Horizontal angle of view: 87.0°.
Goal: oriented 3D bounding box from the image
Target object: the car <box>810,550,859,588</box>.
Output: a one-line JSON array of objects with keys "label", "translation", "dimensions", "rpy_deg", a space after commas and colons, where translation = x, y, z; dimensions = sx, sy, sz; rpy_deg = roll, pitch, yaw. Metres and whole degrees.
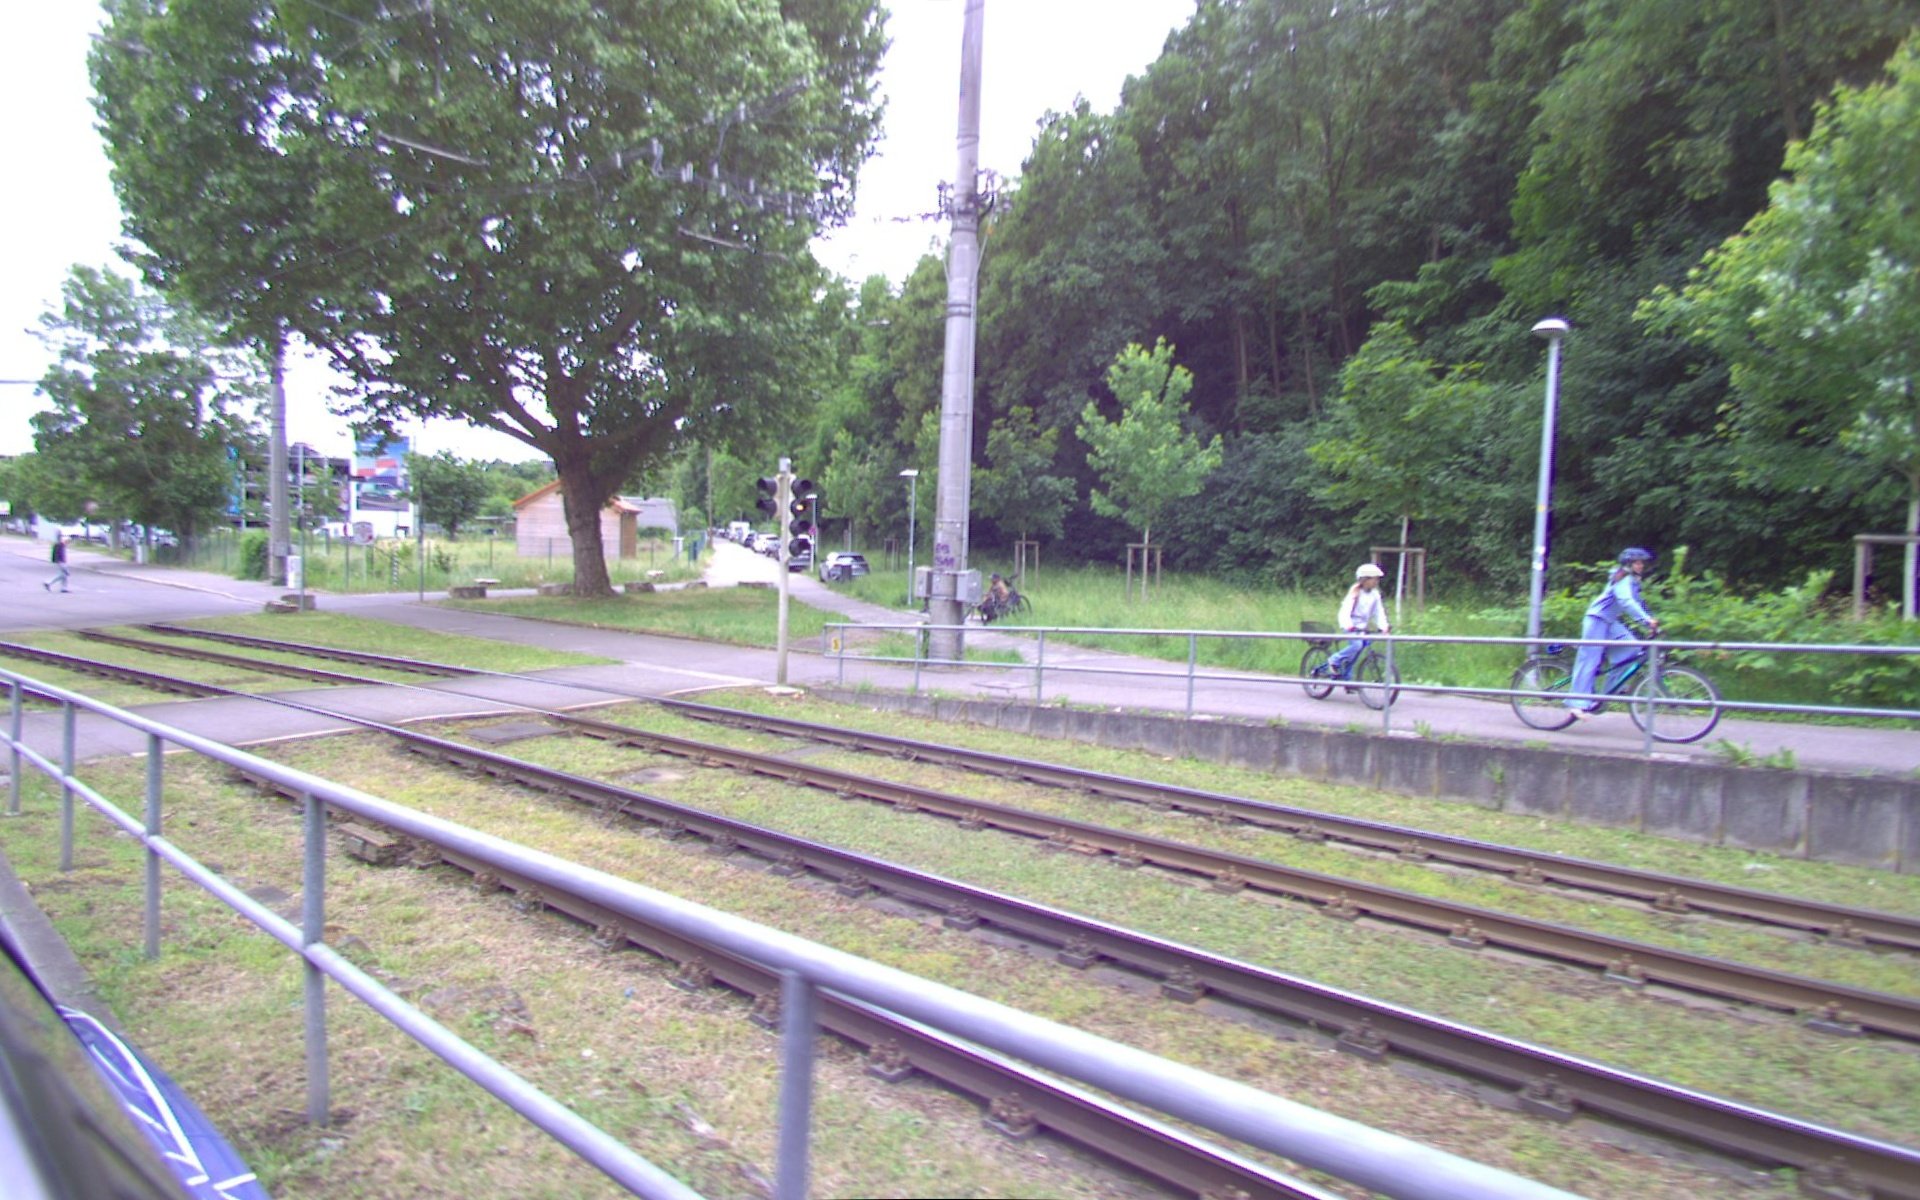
[{"label": "car", "translation": [-5.654, -1.423, 45.184], "dimensions": [1.672, 1.434, 3.515], "rpy_deg": [-2, 6, -15]}]

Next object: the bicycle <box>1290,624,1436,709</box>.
[{"label": "bicycle", "translation": [4.399, 0.700, 11.155], "dimensions": [0.447, 0.744, 1.658], "rpy_deg": [-4, 4, -23]}]

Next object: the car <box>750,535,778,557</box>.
[{"label": "car", "translation": [-15.632, -4.326, 80.730], "dimensions": [1.727, 1.624, 3.694], "rpy_deg": [-2, 6, -18]}]

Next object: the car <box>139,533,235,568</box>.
[{"label": "car", "translation": [-56.226, -3.634, 73.692], "dimensions": [2.001, 2.283, 5.197], "rpy_deg": [5, 7, 44]}]

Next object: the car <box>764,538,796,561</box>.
[{"label": "car", "translation": [-12.042, -3.385, 67.537], "dimensions": [1.728, 1.387, 3.693], "rpy_deg": [-2, 6, -15]}]

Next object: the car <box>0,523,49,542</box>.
[{"label": "car", "translation": [-113.356, -8.182, 122.215], "dimensions": [2.107, 2.224, 4.580], "rpy_deg": [4, 7, 39]}]

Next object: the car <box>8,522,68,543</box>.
[{"label": "car", "translation": [-102.816, -7.549, 112.838], "dimensions": [2.107, 2.224, 4.580], "rpy_deg": [4, 7, 39]}]

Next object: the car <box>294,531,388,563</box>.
[{"label": "car", "translation": [-47.502, -4.099, 77.799], "dimensions": [5.762, 2.283, 2.061], "rpy_deg": [-2, 6, -20]}]

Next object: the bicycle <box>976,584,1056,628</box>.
[{"label": "bicycle", "translation": [1.273, 0.123, 23.139], "dimensions": [1.716, 0.891, 0.624], "rpy_deg": [-3, 6, -22]}]

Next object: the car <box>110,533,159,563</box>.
[{"label": "car", "translation": [-64.687, -4.112, 79.283], "dimensions": [4.774, 2.131, 2.114], "rpy_deg": [4, 7, 41]}]

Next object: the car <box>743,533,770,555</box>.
[{"label": "car", "translation": [-17.121, -4.722, 85.004], "dimensions": [1.727, 1.624, 3.694], "rpy_deg": [-2, 6, -18]}]

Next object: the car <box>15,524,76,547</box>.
[{"label": "car", "translation": [-98.851, -7.001, 109.409], "dimensions": [2.107, 2.224, 4.580], "rpy_deg": [4, 7, 39]}]

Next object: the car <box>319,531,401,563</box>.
[{"label": "car", "translation": [-50.007, -4.460, 84.465], "dimensions": [5.566, 2.478, 1.987], "rpy_deg": [-3, 6, -23]}]

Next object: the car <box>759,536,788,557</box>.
[{"label": "car", "translation": [-13.436, -3.863, 72.748], "dimensions": [1.728, 1.387, 3.693], "rpy_deg": [-2, 6, -15]}]

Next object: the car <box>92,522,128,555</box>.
[{"label": "car", "translation": [-83.616, -6.131, 99.542], "dimensions": [2.287, 3.032, 6.167], "rpy_deg": [-5, 7, -42]}]

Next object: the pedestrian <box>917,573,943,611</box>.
[{"label": "pedestrian", "translation": [-0.839, -0.218, 28.288], "dimensions": [0.523, 0.996, 0.622], "rpy_deg": [-3, 6, -26]}]

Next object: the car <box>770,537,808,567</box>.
[{"label": "car", "translation": [-10.338, -2.941, 61.106], "dimensions": [1.877, 1.624, 3.693], "rpy_deg": [-2, 6, -15]}]

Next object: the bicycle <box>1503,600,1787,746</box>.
[{"label": "bicycle", "translation": [5.769, 0.565, 8.640], "dimensions": [0.468, 1.048, 1.947], "rpy_deg": [-6, 5, -43]}]

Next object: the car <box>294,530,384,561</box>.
[{"label": "car", "translation": [-49.559, -4.384, 80.968], "dimensions": [5.751, 2.283, 2.061], "rpy_deg": [-2, 6, -20]}]

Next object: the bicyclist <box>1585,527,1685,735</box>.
[{"label": "bicyclist", "translation": [5.750, 0.241, 8.628], "dimensions": [0.468, 1.687, 0.624], "rpy_deg": [-6, 5, -44]}]

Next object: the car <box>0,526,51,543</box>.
[{"label": "car", "translation": [-111.620, -7.854, 120.576], "dimensions": [2.107, 1.853, 4.580], "rpy_deg": [4, 7, 39]}]

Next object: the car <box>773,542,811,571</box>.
[{"label": "car", "translation": [-9.333, -2.436, 56.066], "dimensions": [1.672, 1.434, 3.515], "rpy_deg": [-2, 6, -15]}]

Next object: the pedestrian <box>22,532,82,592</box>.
[{"label": "pedestrian", "translation": [-27.860, -1.185, 31.051], "dimensions": [0.811, 1.772, 1.108], "rpy_deg": [3, 6, 33]}]

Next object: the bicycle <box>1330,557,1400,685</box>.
[{"label": "bicycle", "translation": [4.416, 0.207, 11.043], "dimensions": [0.447, 1.339, 0.518], "rpy_deg": [-4, 3, -23]}]

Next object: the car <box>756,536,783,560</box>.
[{"label": "car", "translation": [-14.441, -3.943, 76.613], "dimensions": [1.728, 1.624, 3.693], "rpy_deg": [-2, 6, -15]}]

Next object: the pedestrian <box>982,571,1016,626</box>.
[{"label": "pedestrian", "translation": [0.932, -0.056, 24.281], "dimensions": [0.570, 1.244, 0.675], "rpy_deg": [-3, 6, -28]}]
